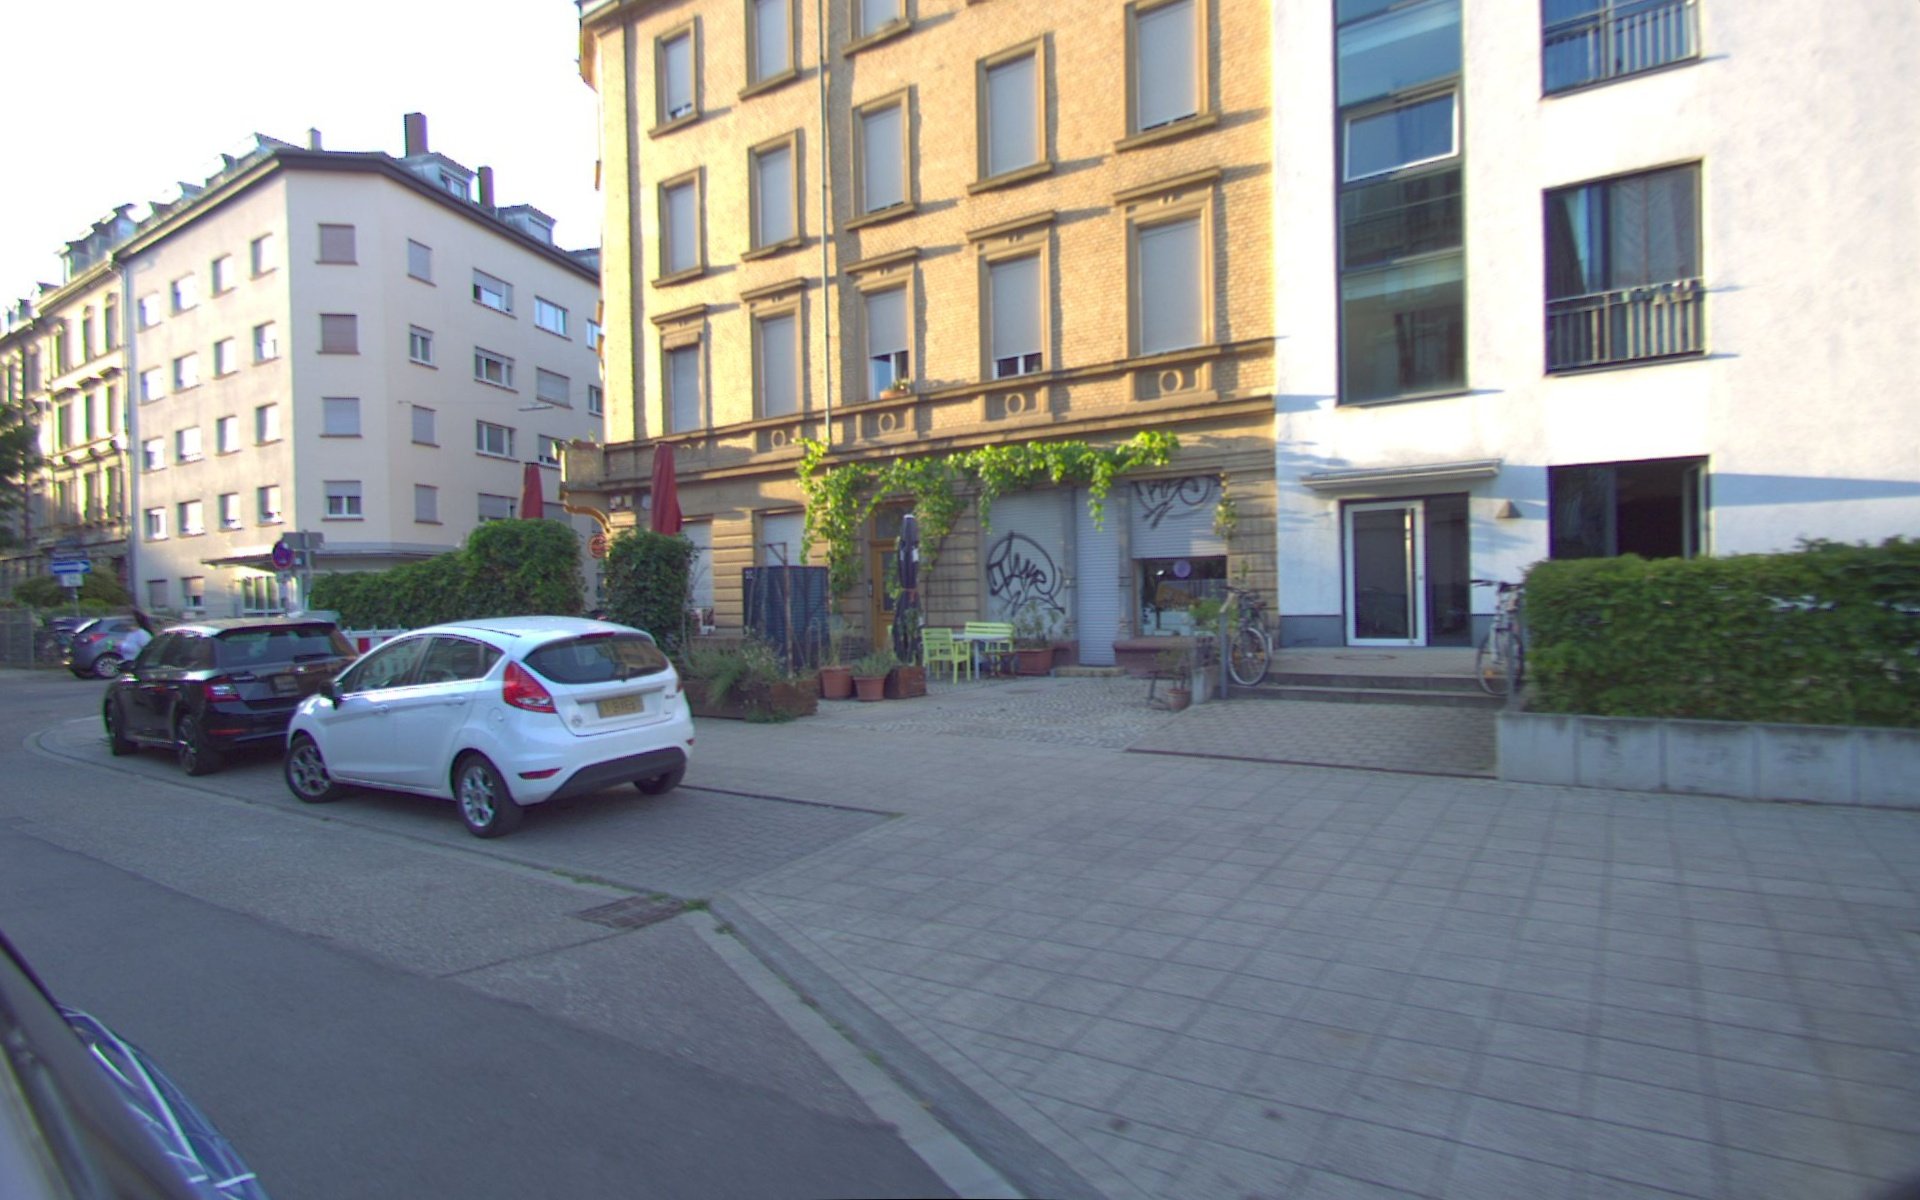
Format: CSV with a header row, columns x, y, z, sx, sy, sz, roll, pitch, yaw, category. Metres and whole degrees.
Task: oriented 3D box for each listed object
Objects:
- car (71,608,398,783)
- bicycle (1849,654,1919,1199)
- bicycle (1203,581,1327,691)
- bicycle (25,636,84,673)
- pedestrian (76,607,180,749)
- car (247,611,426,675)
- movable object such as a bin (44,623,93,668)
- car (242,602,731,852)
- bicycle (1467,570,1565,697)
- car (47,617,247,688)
x,y,z,sx,sy,sz,roll,pitch,yaw,category
-7.926,0.911,10.968,3.835,1.546,1.689,-2,0,35,car
2.683,0.703,0.814,2.859,1.230,0.800,-2,1,36,bicycle
3.599,0.379,11.827,0.810,1.150,1.899,-2,1,35,bicycle
-26.923,1.621,30.087,1.923,1.033,0.682,-2,1,29,bicycle
-10.143,0.922,12.349,0.710,1.630,0.777,-2,1,36,pedestrian
-17.786,1.161,28.984,4.012,1.520,1.975,-3,1,-44,car
-28.712,1.460,32.590,1.396,1.362,0.859,-2,1,36,movable object such as a bin
-3.896,0.846,8.138,4.004,1.542,1.638,-2,0,32,car
5.648,0.298,10.241,0.609,1.156,1.759,-2,1,37,bicycle
-20.115,1.256,25.157,1.840,1.519,3.478,-3,-1,33,car
